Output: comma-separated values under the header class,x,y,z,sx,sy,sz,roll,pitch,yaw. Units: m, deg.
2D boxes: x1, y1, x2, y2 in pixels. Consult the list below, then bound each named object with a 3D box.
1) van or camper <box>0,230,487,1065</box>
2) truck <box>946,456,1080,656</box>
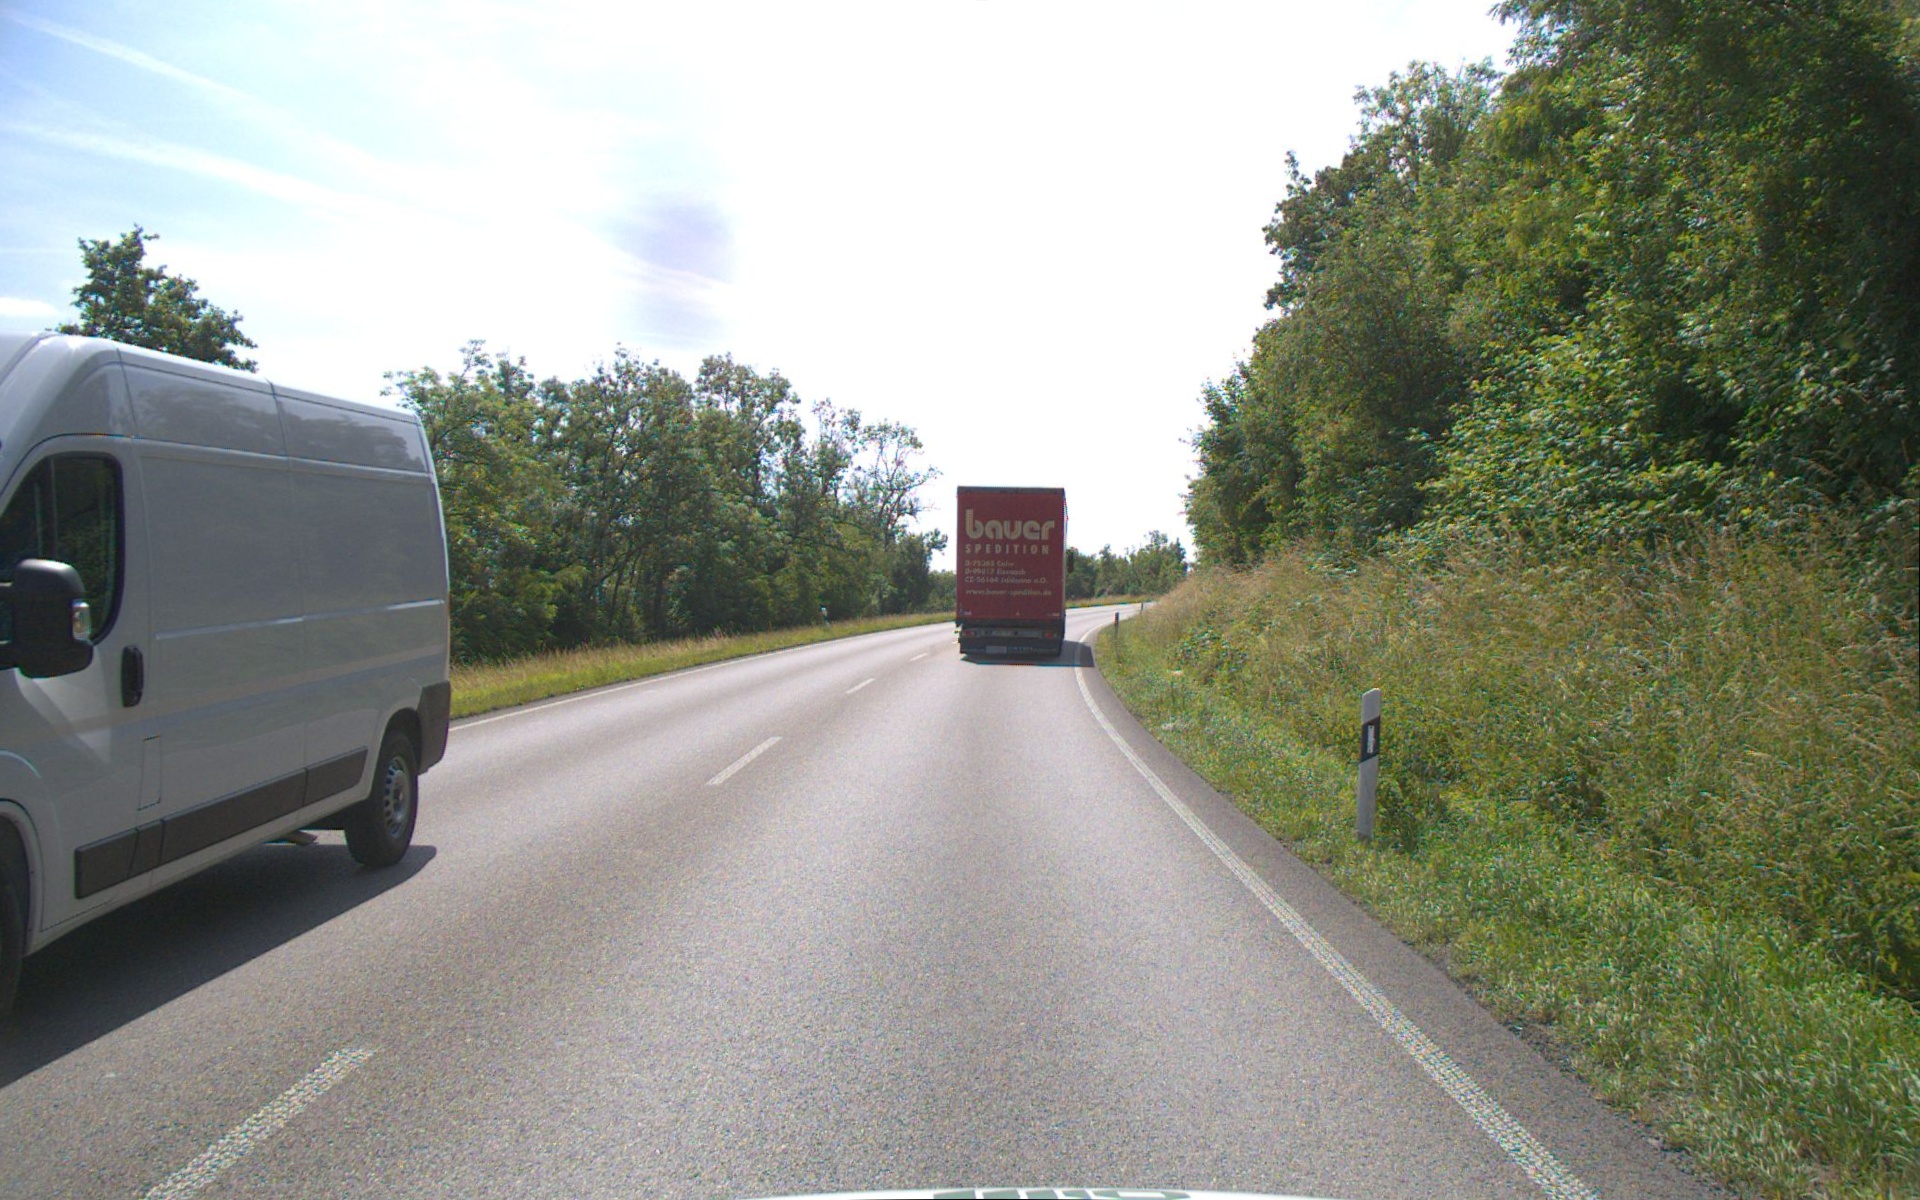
class,x,y,z,sx,sy,sz,roll,pitch,yaw
van or camper,-4.037,0.143,7.249,2.163,2.572,6.133,0,0,0
truck,1.453,-1.033,43.918,3.047,4.584,12.171,0,0,2
